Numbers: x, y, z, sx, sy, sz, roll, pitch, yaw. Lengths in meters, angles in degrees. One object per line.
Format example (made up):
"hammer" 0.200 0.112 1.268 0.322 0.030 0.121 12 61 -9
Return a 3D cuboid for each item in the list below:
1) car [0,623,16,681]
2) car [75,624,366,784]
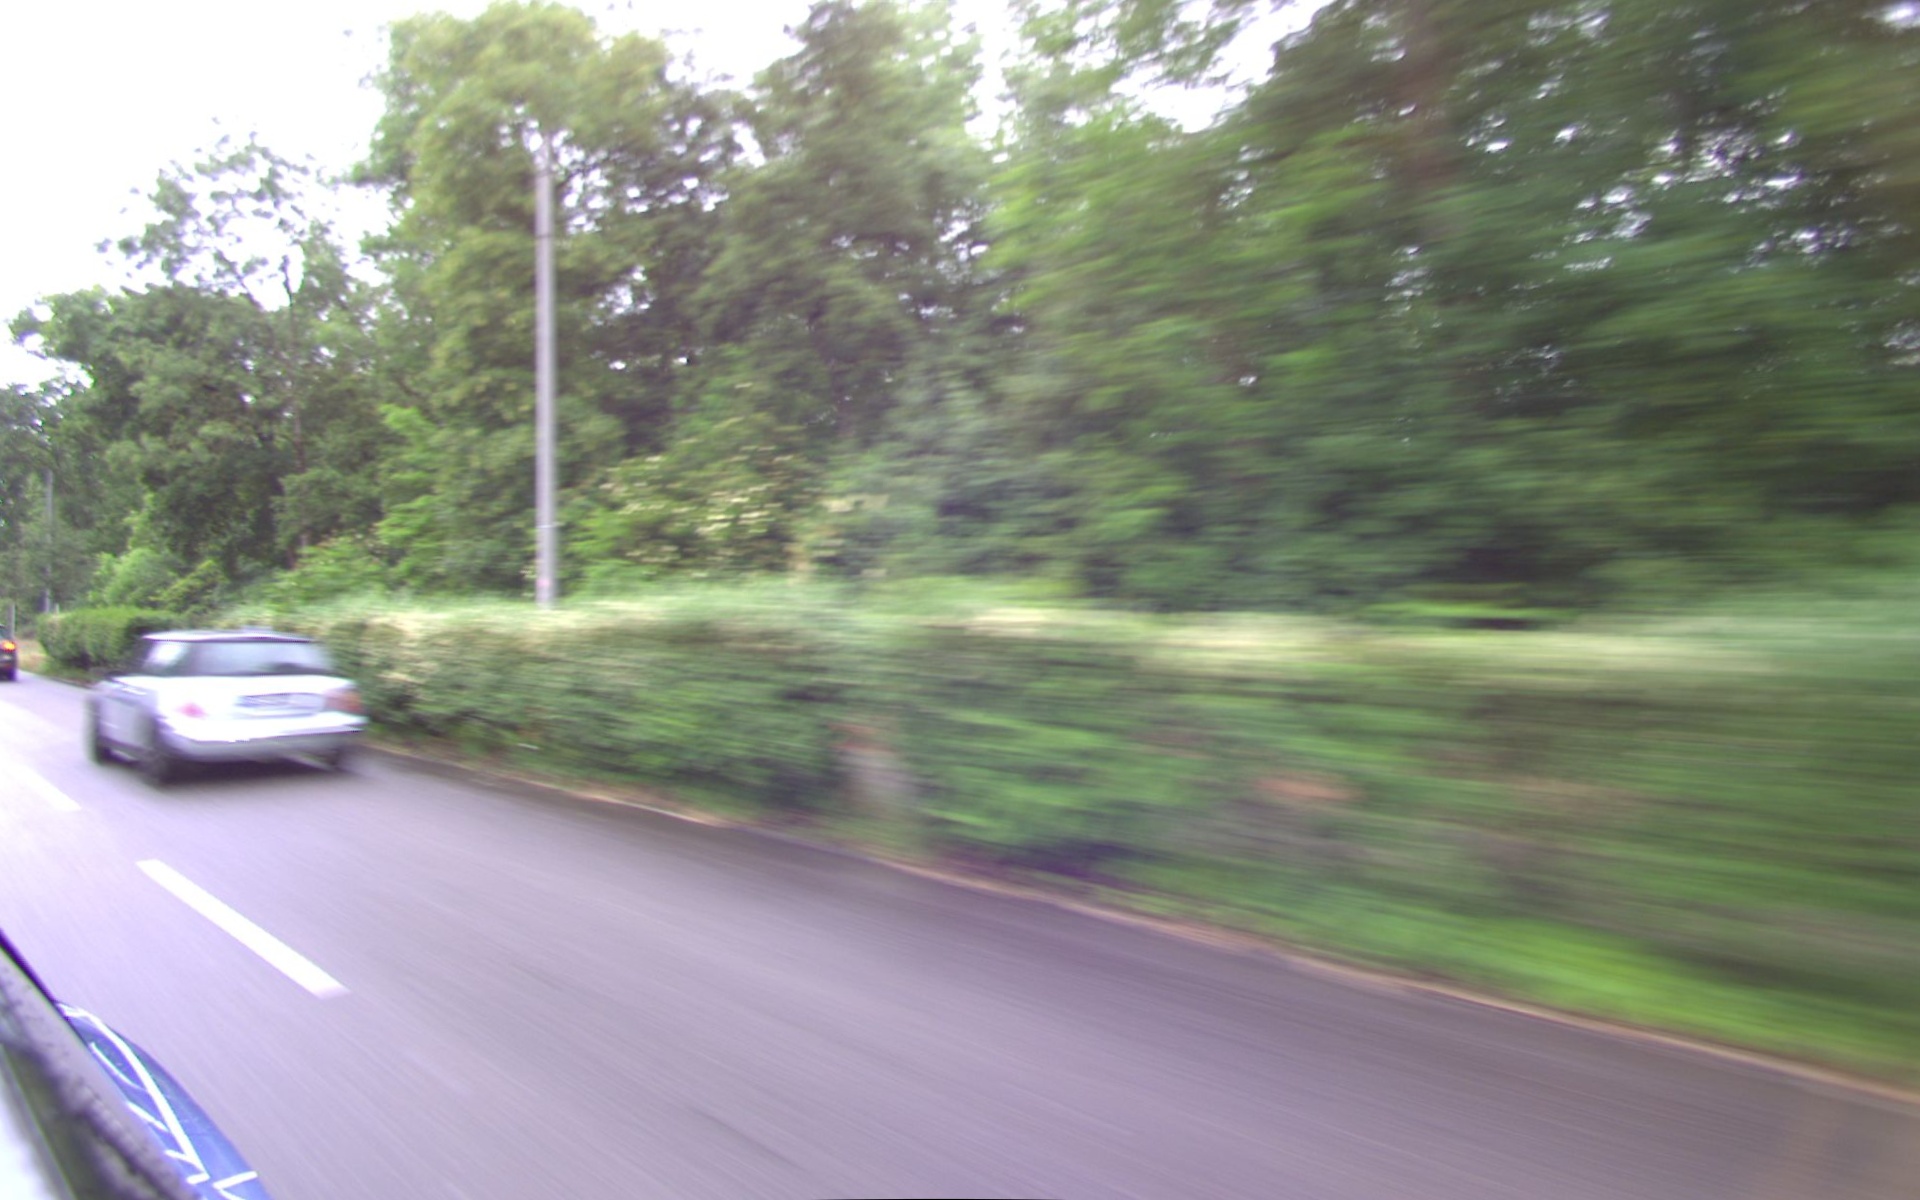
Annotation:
"car" -26.566 1.389 26.895 3.998 1.503 1.712 -2 -3 41
"car" -7.778 0.975 10.531 3.722 1.366 1.668 -2 -4 41
